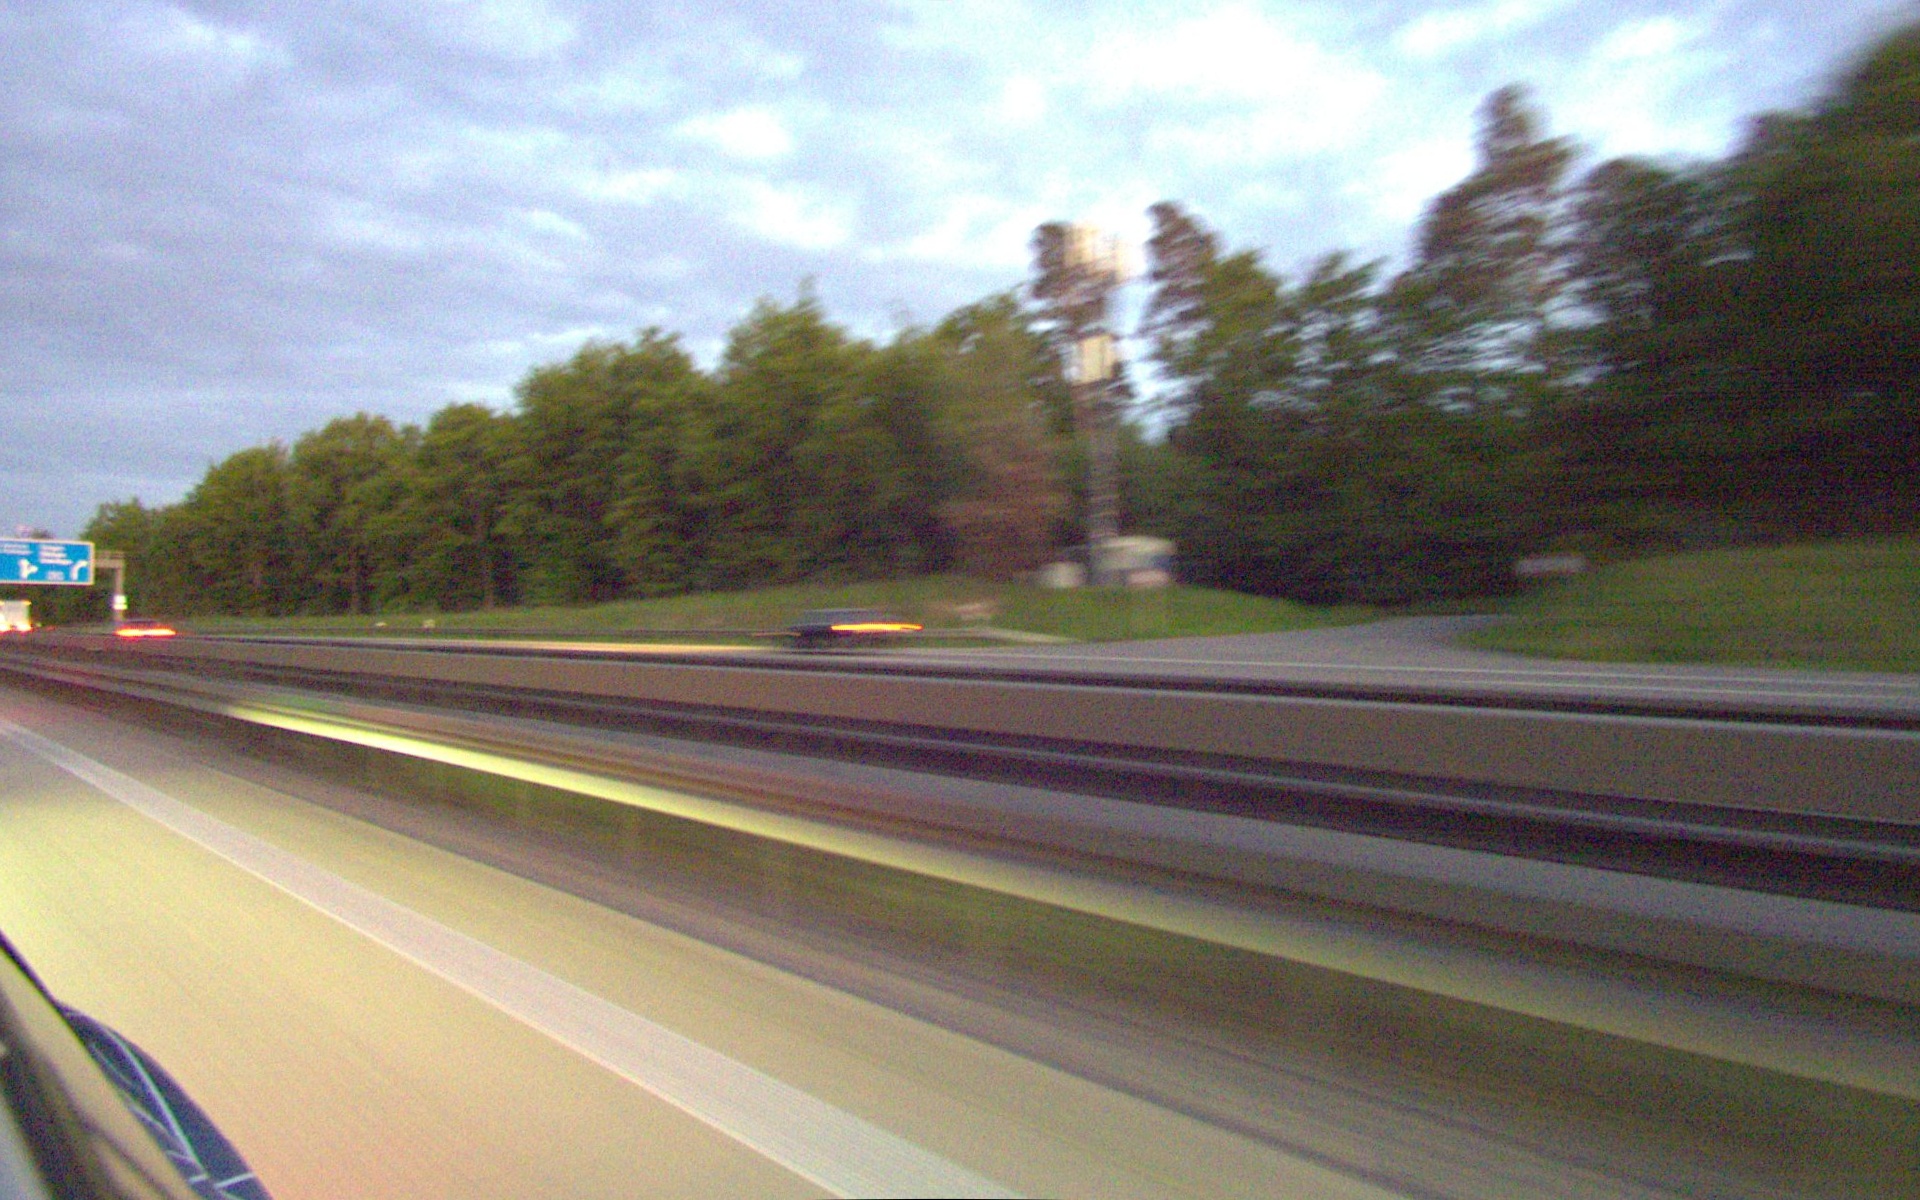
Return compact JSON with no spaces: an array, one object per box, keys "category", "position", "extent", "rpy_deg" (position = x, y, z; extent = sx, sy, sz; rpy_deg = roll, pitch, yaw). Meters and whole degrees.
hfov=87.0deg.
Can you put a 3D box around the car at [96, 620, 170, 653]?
[{"category":"car","position":[-38.315,1.676,46.862],"extent":[4.904,1.391,1.796],"rpy_deg":[-1,-1,40]}]

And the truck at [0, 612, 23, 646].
[{"category":"truck","position":[-118.719,3.557,125.151],"extent":[10.530,4.041,2.619],"rpy_deg":[-2,-1,38]}]

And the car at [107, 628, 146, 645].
[{"category":"car","position":[-75.451,3.311,91.590],"extent":[4.590,1.508,1.832],"rpy_deg":[-2,-2,39]}]

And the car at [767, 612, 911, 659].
[{"category":"car","position":[-3.986,1.128,32.811],"extent":[4.904,1.391,1.796],"rpy_deg":[-1,-1,40]}]
